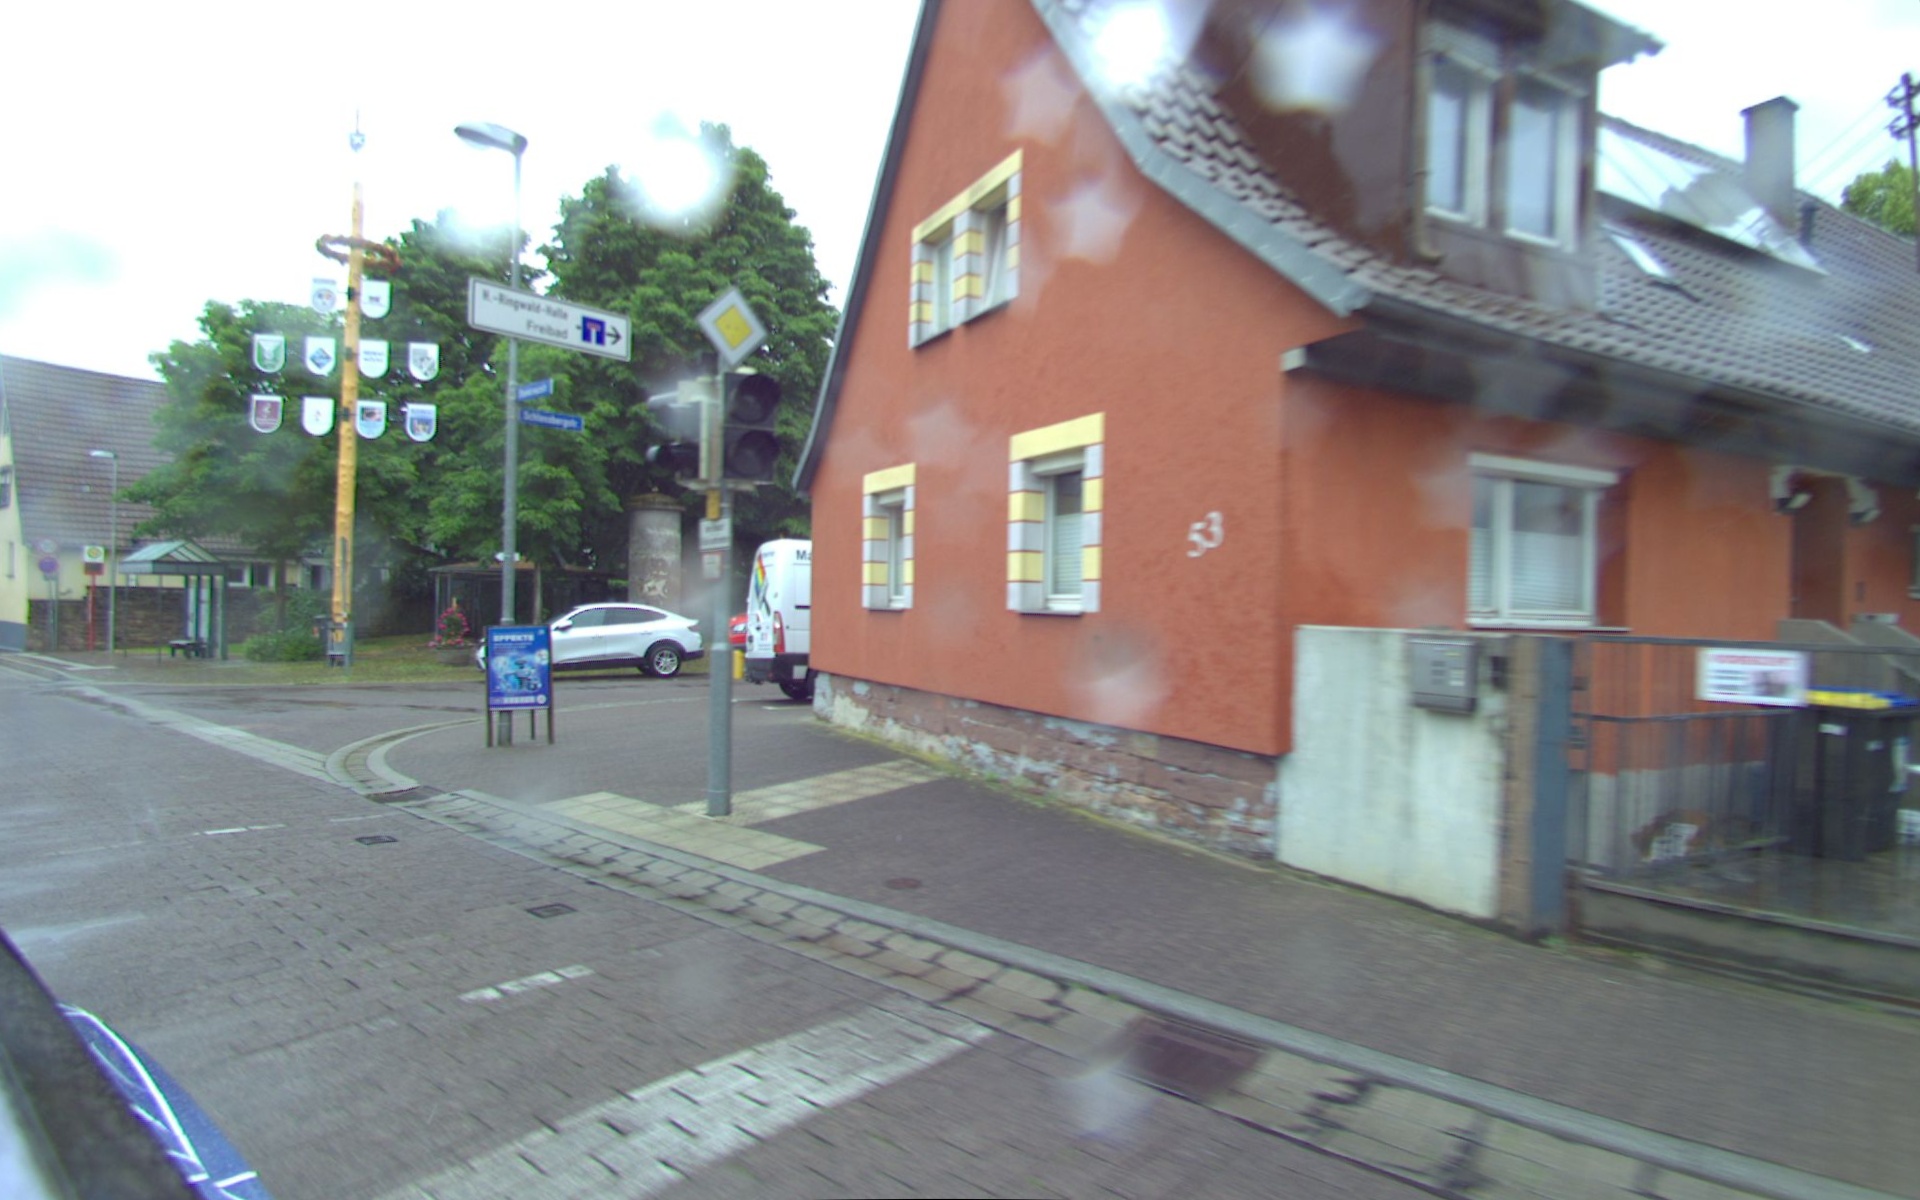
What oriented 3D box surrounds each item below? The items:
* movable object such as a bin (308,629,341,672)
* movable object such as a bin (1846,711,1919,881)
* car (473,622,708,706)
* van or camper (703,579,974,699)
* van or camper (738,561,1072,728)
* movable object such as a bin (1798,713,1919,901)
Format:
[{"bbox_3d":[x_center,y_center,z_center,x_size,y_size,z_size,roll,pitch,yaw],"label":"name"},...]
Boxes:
[{"bbox_3d":[-17.577,1.386,27.988,0.604,1.155,0.556,1,-1,39],"label":"movable object such as a bin"},{"bbox_3d":[6.525,1.316,6.859,0.637,1.064,0.622,3,-2,-31],"label":"movable object such as a bin"},{"bbox_3d":[-7.695,1.258,21.129,4.383,1.561,1.888,0,-1,-28],"label":"car"},{"bbox_3d":[-2.758,0.844,23.176,5.775,2.492,2.162,1,0,-23],"label":"van or camper"},{"bbox_3d":[-0.917,0.743,16.825,5.069,2.454,2.218,1,-3,-23],"label":"van or camper"},{"bbox_3d":[5.910,1.293,6.516,0.637,1.064,0.622,3,-2,-31],"label":"movable object such as a bin"}]
